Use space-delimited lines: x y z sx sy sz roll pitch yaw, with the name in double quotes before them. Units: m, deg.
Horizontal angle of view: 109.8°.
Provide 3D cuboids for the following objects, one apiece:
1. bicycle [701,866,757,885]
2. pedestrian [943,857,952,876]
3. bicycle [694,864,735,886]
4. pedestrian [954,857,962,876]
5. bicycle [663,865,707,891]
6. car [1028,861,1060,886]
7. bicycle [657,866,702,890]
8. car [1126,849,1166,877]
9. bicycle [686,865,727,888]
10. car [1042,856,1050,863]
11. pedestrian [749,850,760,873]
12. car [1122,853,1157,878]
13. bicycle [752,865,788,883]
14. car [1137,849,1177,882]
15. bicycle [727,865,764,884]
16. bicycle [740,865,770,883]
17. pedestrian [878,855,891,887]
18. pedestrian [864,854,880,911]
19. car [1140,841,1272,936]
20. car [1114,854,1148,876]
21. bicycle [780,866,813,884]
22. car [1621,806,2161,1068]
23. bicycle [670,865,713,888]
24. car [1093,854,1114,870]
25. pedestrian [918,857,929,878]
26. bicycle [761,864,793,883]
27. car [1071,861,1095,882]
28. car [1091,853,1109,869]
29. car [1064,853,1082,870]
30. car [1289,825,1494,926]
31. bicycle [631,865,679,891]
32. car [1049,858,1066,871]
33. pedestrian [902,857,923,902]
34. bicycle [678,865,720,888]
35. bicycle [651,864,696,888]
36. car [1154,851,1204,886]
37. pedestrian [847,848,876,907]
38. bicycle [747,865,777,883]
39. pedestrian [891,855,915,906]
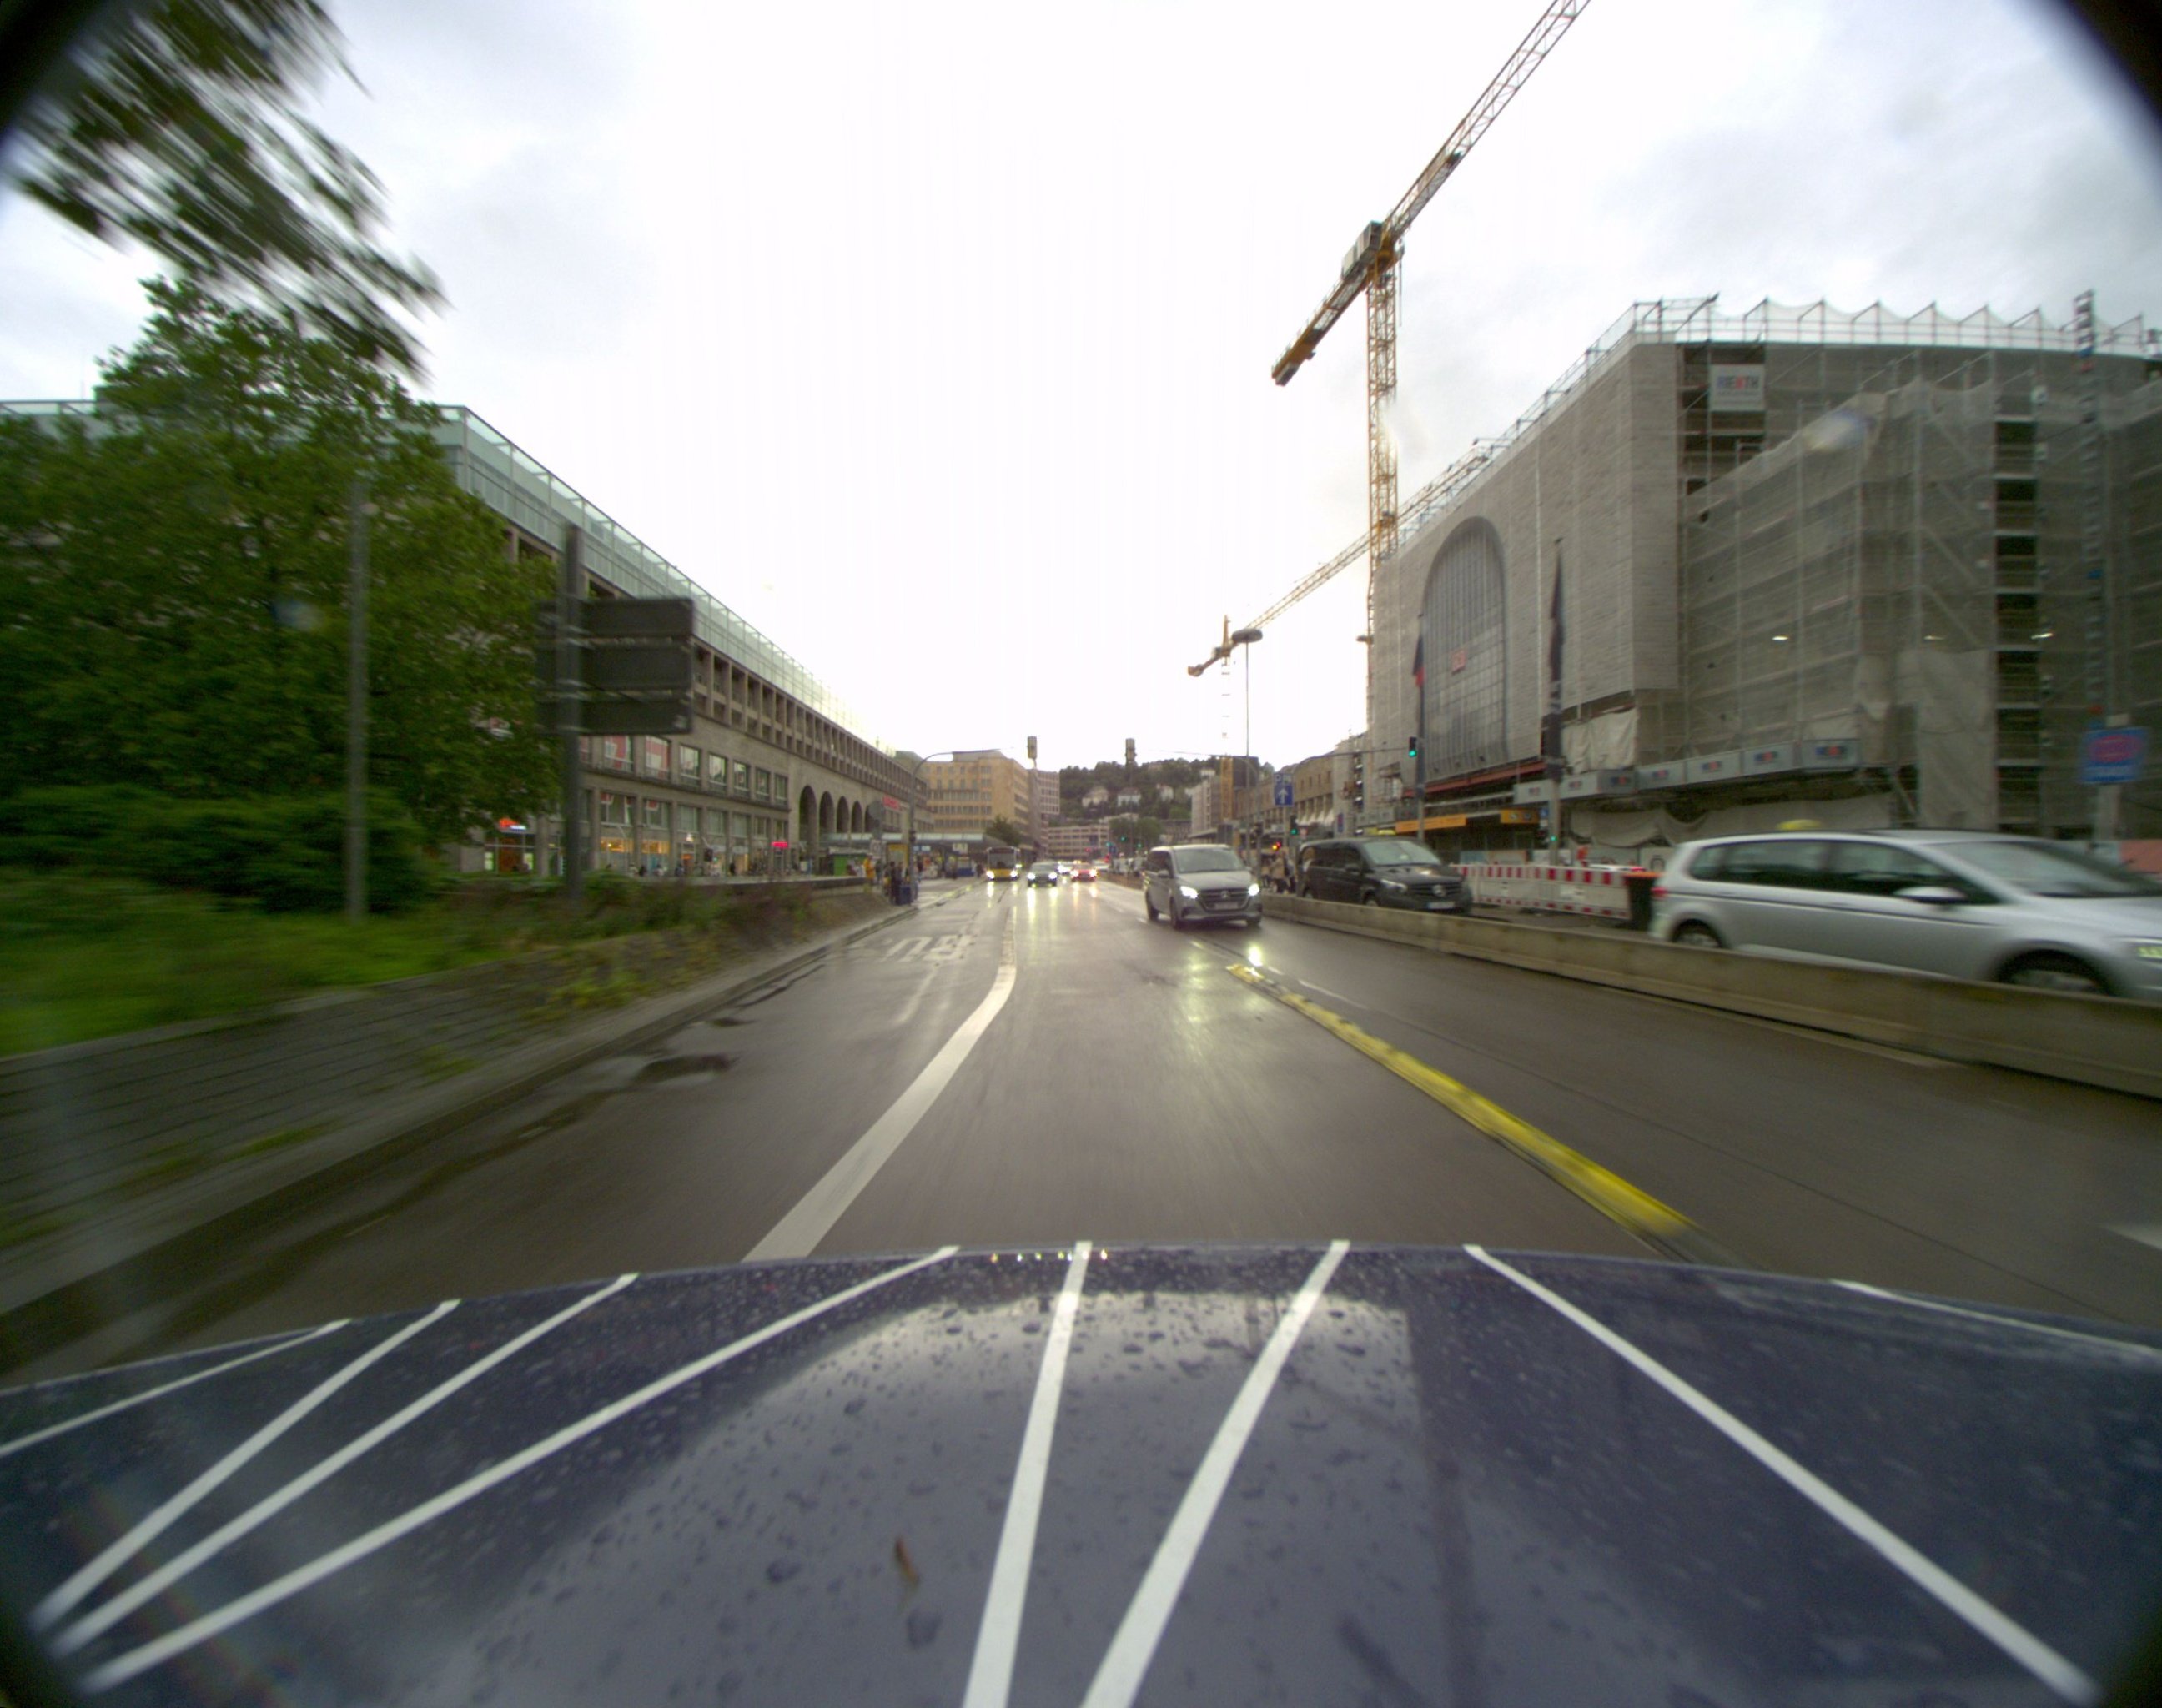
"bicycle" -21.031 1.272 45.418 2.888 1.102 0.879 1 0 -15
"pedestrian" -13.530 1.300 76.891 0.796 1.918 0.705 0 1 -13
"bicycle" -21.170 1.229 43.929 1.997 1.230 0.617 1 0 -15
"pedestrian" -10.630 1.047 65.872 0.595 1.609 0.511 -2 1 -13
"bicycle" -21.058 1.250 40.450 1.994 1.327 0.618 1 0 -1
"car" -2.431 1.260 50.315 1.823 1.455 4.699 -3 0 0
"bicycle" -21.022 1.245 39.813 1.994 1.230 0.618 1 0 -1
"car" 4.272 0.548 50.481 1.999 1.776 4.846 0 0 -3
"bicycle" -20.985 1.245 42.575 1.994 1.258 0.618 1 0 -1
"car" -9.385 1.458 206.285 1.999 1.873 4.996 -1 0 0
"pedestrian" -27.353 0.608 63.651 0.790 1.918 0.653 -1 1 -27
"car" 4.285 0.815 56.486 1.999 1.776 4.452 0 0 -4
"bicycle" -20.557 1.305 50.230 2.093 1.133 0.888 1 0 -28
"car" 4.445 0.654 44.969 1.718 1.881 4.609 0 0 -3
"bicycle" -20.866 1.272 47.328 1.984 1.102 0.824 1 0 -17
"bicycle" -20.667 1.280 48.173 1.697 1.102 0.673 1 0 -17
"pedestrian" -12.023 1.039 46.510 0.708 1.921 0.788 0 1 -12
"pedestrian" -7.945 1.058 28.864 0.556 2.133 0.667 -1 1 -17
"car" 2.809 0.721 18.451 1.999 1.893 5.249 -2 0 -4
"car" 4.004 0.822 61.561 2.055 1.701 5.053 0 0 -4
"bicycle" -19.605 1.438 52.393 0.616 1.230 2.193 1 0 32
"car" 7.654 0.502 6.834 1.829 1.686 4.771 -2 0 -6
"bicycle" -21.065 1.212 41.132 1.994 1.230 0.618 1 0 -1
"car" 2.542 0.896 87.513 1.999 1.696 4.831 0 0 -3
"pedestrian" -11.739 1.013 56.715 0.652 1.609 0.502 0 1 12
"bicycle" -21.136 1.336 52.769 1.993 1.230 0.618 1 0 7
"car" 0.143 1.296 58.591 1.709 1.485 3.669 -2 0 -1
"car" 2.343 0.868 93.188 1.999 1.851 4.832 0 0 -1
"car" -0.880 0.844 83.545 1.872 1.747 3.901 -2 1 -2
"car" 6.525 0.381 16.766 2.000 1.834 5.059 -2 0 -6
"bicycle" -21.231 1.210 37.897 1.994 1.230 0.618 1 0 -1
"car" -2.871 1.270 94.552 1.999 1.548 3.908 -1 0 0
"pedestrian" -6.799 1.023 30.702 0.748 1.794 0.708 0 1 -17
"bicycle" -21.029 1.224 41.817 1.994 1.230 0.618 1 0 -1
"bicycle" -21.007 1.130 39.194 1.994 1.230 0.618 1 0 -1
"car" 4.935 0.706 38.940 1.791 1.675 4.665 0 0 -2
"pedestrian" -8.055 0.868 27.902 0.709 2.133 0.722 0 1 10
"bicycle" -20.549 1.296 48.934 1.738 1.102 0.687 1 0 -25
"pedestrian" -6.623 0.962 28.194 0.789 1.828 0.949 0 1 -17
